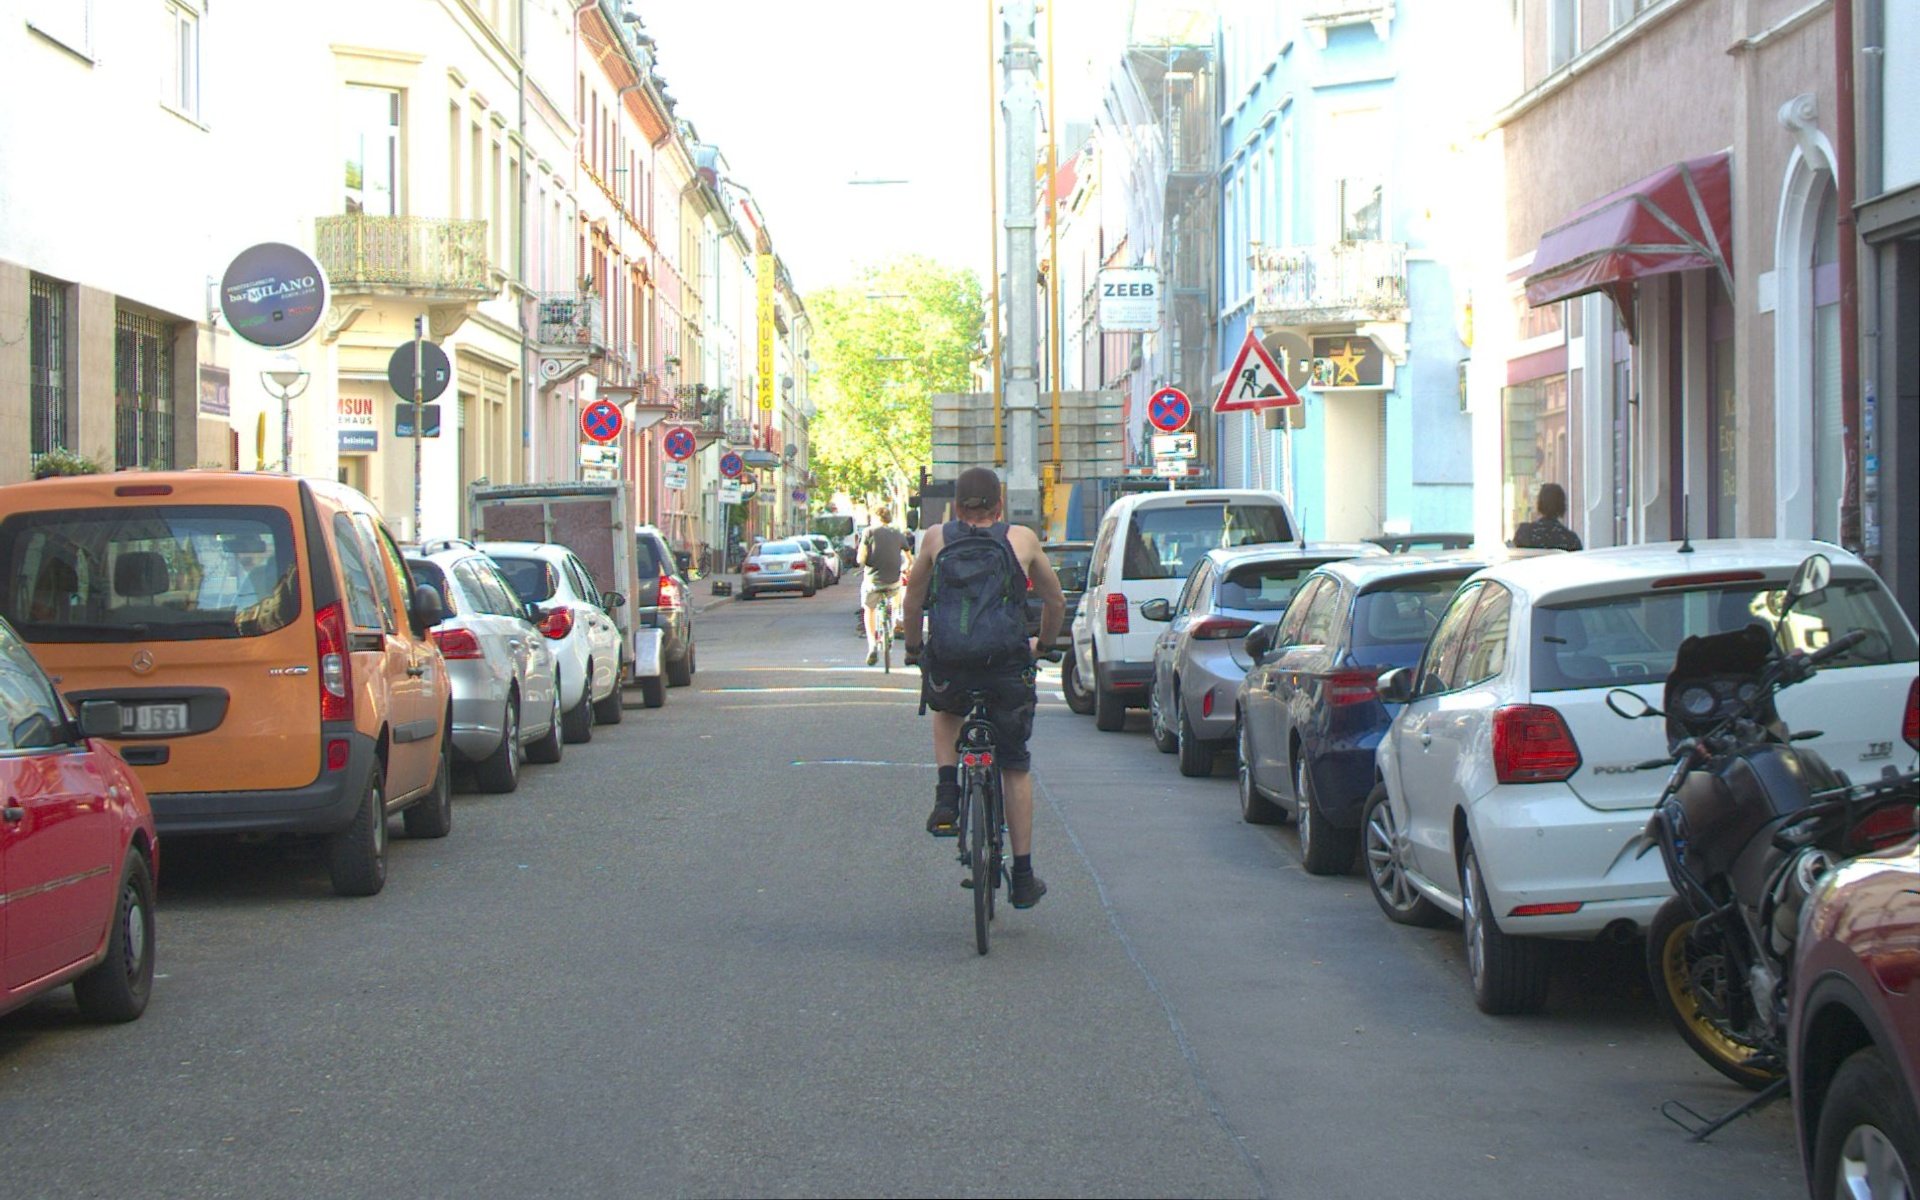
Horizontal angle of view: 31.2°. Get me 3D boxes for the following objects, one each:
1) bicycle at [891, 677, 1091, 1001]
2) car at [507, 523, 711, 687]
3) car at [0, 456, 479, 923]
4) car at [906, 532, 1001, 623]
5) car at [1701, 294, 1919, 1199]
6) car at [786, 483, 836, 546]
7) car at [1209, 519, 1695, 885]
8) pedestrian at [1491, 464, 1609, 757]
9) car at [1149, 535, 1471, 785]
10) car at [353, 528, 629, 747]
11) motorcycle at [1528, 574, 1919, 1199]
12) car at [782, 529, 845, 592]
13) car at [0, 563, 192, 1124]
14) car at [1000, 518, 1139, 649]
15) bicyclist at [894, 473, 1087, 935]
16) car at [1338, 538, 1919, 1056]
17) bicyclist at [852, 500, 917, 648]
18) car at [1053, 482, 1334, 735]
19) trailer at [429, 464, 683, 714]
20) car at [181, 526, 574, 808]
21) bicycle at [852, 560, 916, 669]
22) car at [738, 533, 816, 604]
[{"bbox_3d":[0.090,0.866,13.108,0.677,1.071,1.942,1,1,-1],"label":"bicycle"},{"bbox_3d":[-3.542,0.027,35.283,1.750,1.567,3.796,-1,1,-1],"label":"car"},{"bbox_3d":[-3.338,0.342,15.748,1.752,1.810,4.078,-2,1,-2],"label":"car"},{"bbox_3d":[-0.142,-0.405,61.337,1.611,1.555,3.610,1,1,-1],"label":"car"},{"bbox_3d":[2.365,0.417,4.104,1.918,1.700,4.366,-1,1,-1],"label":"car"},{"bbox_3d":[-5.649,-3.237,130.742,1.750,2.310,3.796,-1,1,-1],"label":"car"},{"bbox_3d":[2.271,0.419,16.847,1.646,1.470,3.971,-4,1,-1],"label":"car"},{"bbox_3d":[4.121,0.071,24.048,0.644,2.007,0.764,1,0,-1],"label":"pedestrian"},{"bbox_3d":[2.226,0.343,22.748,1.750,1.481,3.800,-1,1,0],"label":"car"},{"bbox_3d":[-3.511,0.248,26.272,1.653,1.532,3.634,-1,1,-1],"label":"car"},{"bbox_3d":[2.047,0.687,8.758,0.747,1.485,2.422,1,1,-1],"label":"motorcycle"},{"bbox_3d":[-4.327,-1.174,101.936,1.750,1.815,3.796,-1,1,-1],"label":"car"},{"bbox_3d":[-3.369,0.673,9.751,1.578,1.478,3.565,-3,1,-1],"label":"car"},{"bbox_3d":[1.398,-0.230,45.115,1.611,1.628,3.610,1,1,-1],"label":"car"},{"bbox_3d":[0.099,0.374,13.073,0.667,1.671,1.097,1,0,-1],"label":"bicyclist"},{"bbox_3d":[2.434,0.572,12.343,1.667,1.500,3.816,-3,1,0],"label":"car"},{"bbox_3d":[-0.808,-0.279,36.875,0.671,1.562,0.716,1,0,-1],"label":"bicyclist"},{"bbox_3d":[1.810,0.043,27.804,1.750,1.872,3.973,-1,1,-3],"label":"car"},{"bbox_3d":[-3.571,-0.114,30.965,1.882,2.085,3.737,-1,1,-1],"label":"trailer"},{"bbox_3d":[-3.476,0.347,21.242,1.750,1.532,4.319,-1,1,-1],"label":"car"},{"bbox_3d":[-0.812,0.141,36.881,0.648,1.125,2.136,1,1,-1],"label":"bicycle"},{"bbox_3d":[-4.467,-0.774,84.392,1.750,1.678,3.796,-1,1,-1],"label":"car"}]
